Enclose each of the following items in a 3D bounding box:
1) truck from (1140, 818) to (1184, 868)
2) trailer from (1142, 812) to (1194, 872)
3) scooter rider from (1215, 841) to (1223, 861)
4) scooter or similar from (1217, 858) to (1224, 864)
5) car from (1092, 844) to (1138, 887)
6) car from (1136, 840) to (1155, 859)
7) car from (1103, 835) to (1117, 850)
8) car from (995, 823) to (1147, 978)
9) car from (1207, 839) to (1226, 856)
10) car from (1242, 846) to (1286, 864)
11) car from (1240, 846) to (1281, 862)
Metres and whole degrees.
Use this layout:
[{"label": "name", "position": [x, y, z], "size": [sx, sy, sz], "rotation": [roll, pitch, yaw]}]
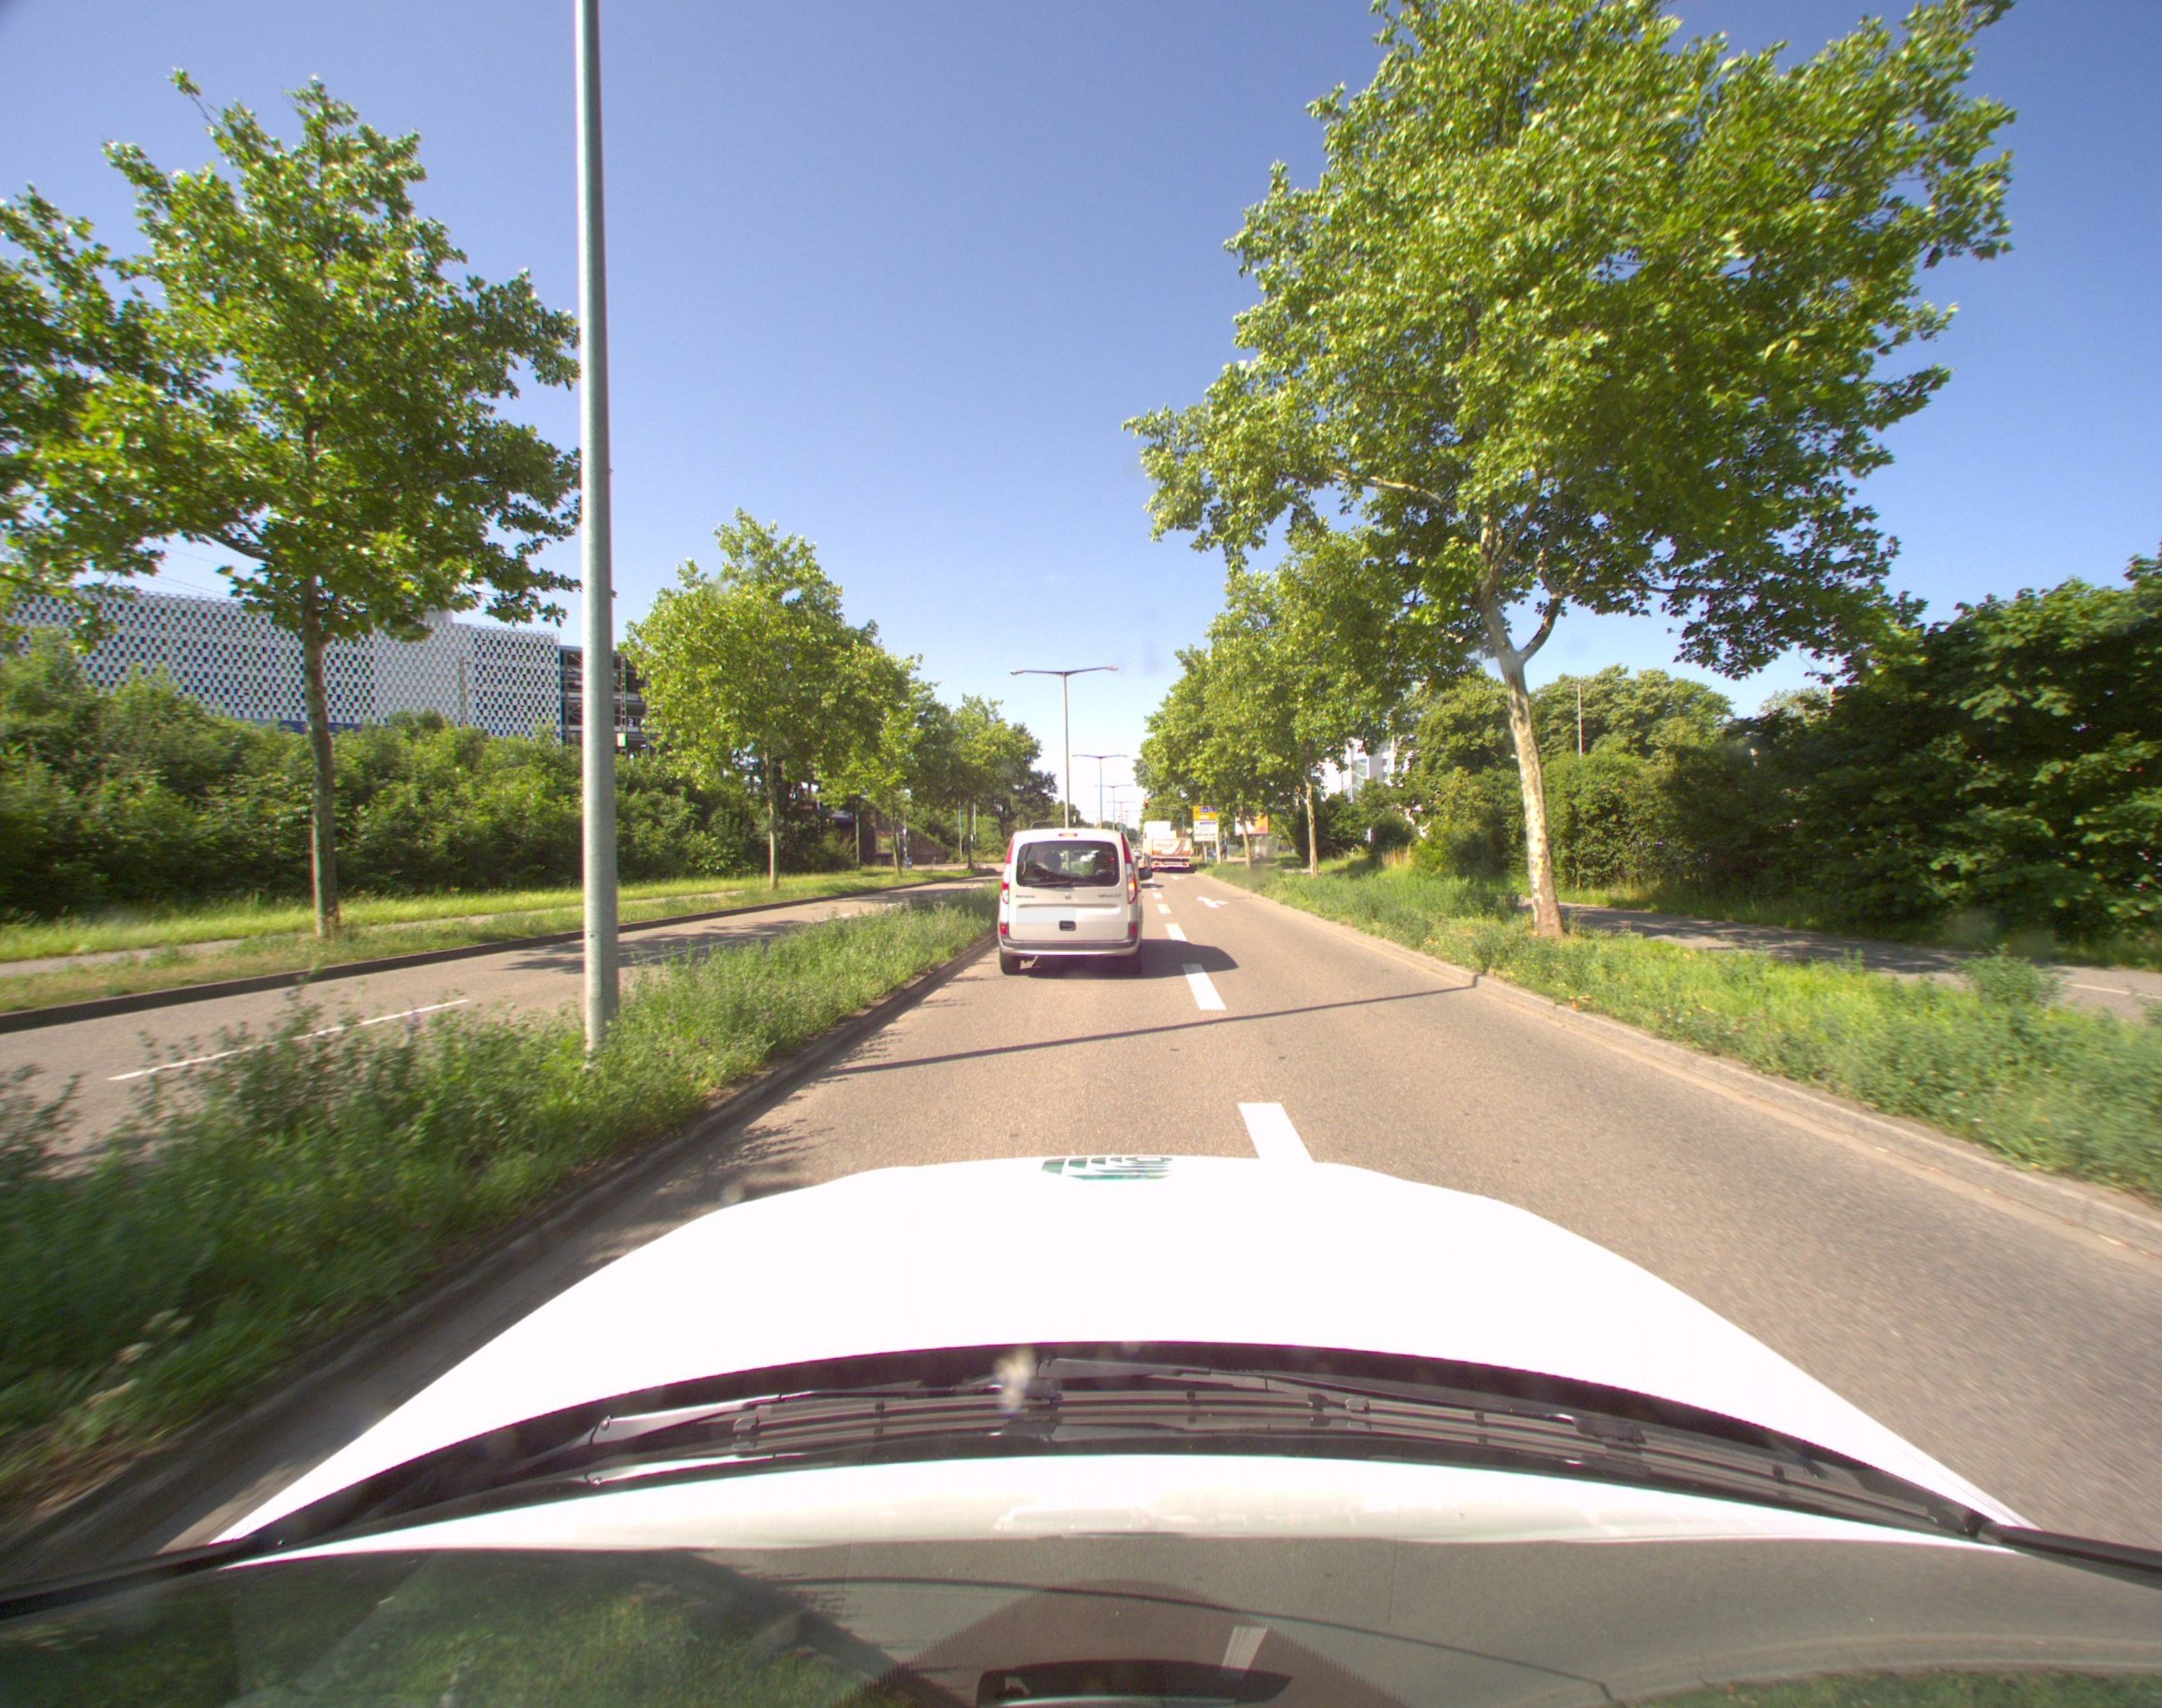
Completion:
[{"label": "truck", "position": [6.348, -0.810, 64.599], "size": [3.059, 3.758, 7.480], "rotation": [0, 0, 2]}, {"label": "trailer", "position": [5.865, -0.750, 56.633], "size": [3.003, 3.740, 12.251], "rotation": [0, 0, 3]}, {"label": "scooter rider", "position": [9.569, -0.220, 56.468], "size": [0.495, 1.337, 0.563], "rotation": [0, 0, 1]}, {"label": "scooter or similar", "position": [9.693, 0.491, 56.468], "size": [0.377, 0.357, 0.556], "rotation": [0, 0, 1]}, {"label": "car", "position": [1.347, 0.448, 33.554], "size": [1.803, 1.684, 4.001], "rotation": [0, 0, 1]}, {"label": "car", "position": [5.518, -0.387, 69.982], "size": [1.461, 1.635, 3.471], "rotation": [0, 0, 1]}, {"label": "car", "position": [4.171, -1.651, 116.908], "size": [1.709, 2.013, 3.997], "rotation": [0, 0, -2]}, {"label": "car", "position": [-0.021, 0.533, 11.333], "size": [1.742, 1.772, 3.952], "rotation": [0, 0, 3]}, {"label": "car", "position": [15.063, -0.701, 90.484], "size": [1.807, 1.795, 3.448], "rotation": [0, 0, 5]}, {"label": "car", "position": [17.602, 0.078, 78.475], "size": [3.964, 1.662, 1.727], "rotation": [0, 0, 8]}, {"label": "car", "position": [18.068, -0.012, 82.072], "size": [3.964, 1.662, 1.727], "rotation": [0, 0, 8]}]
